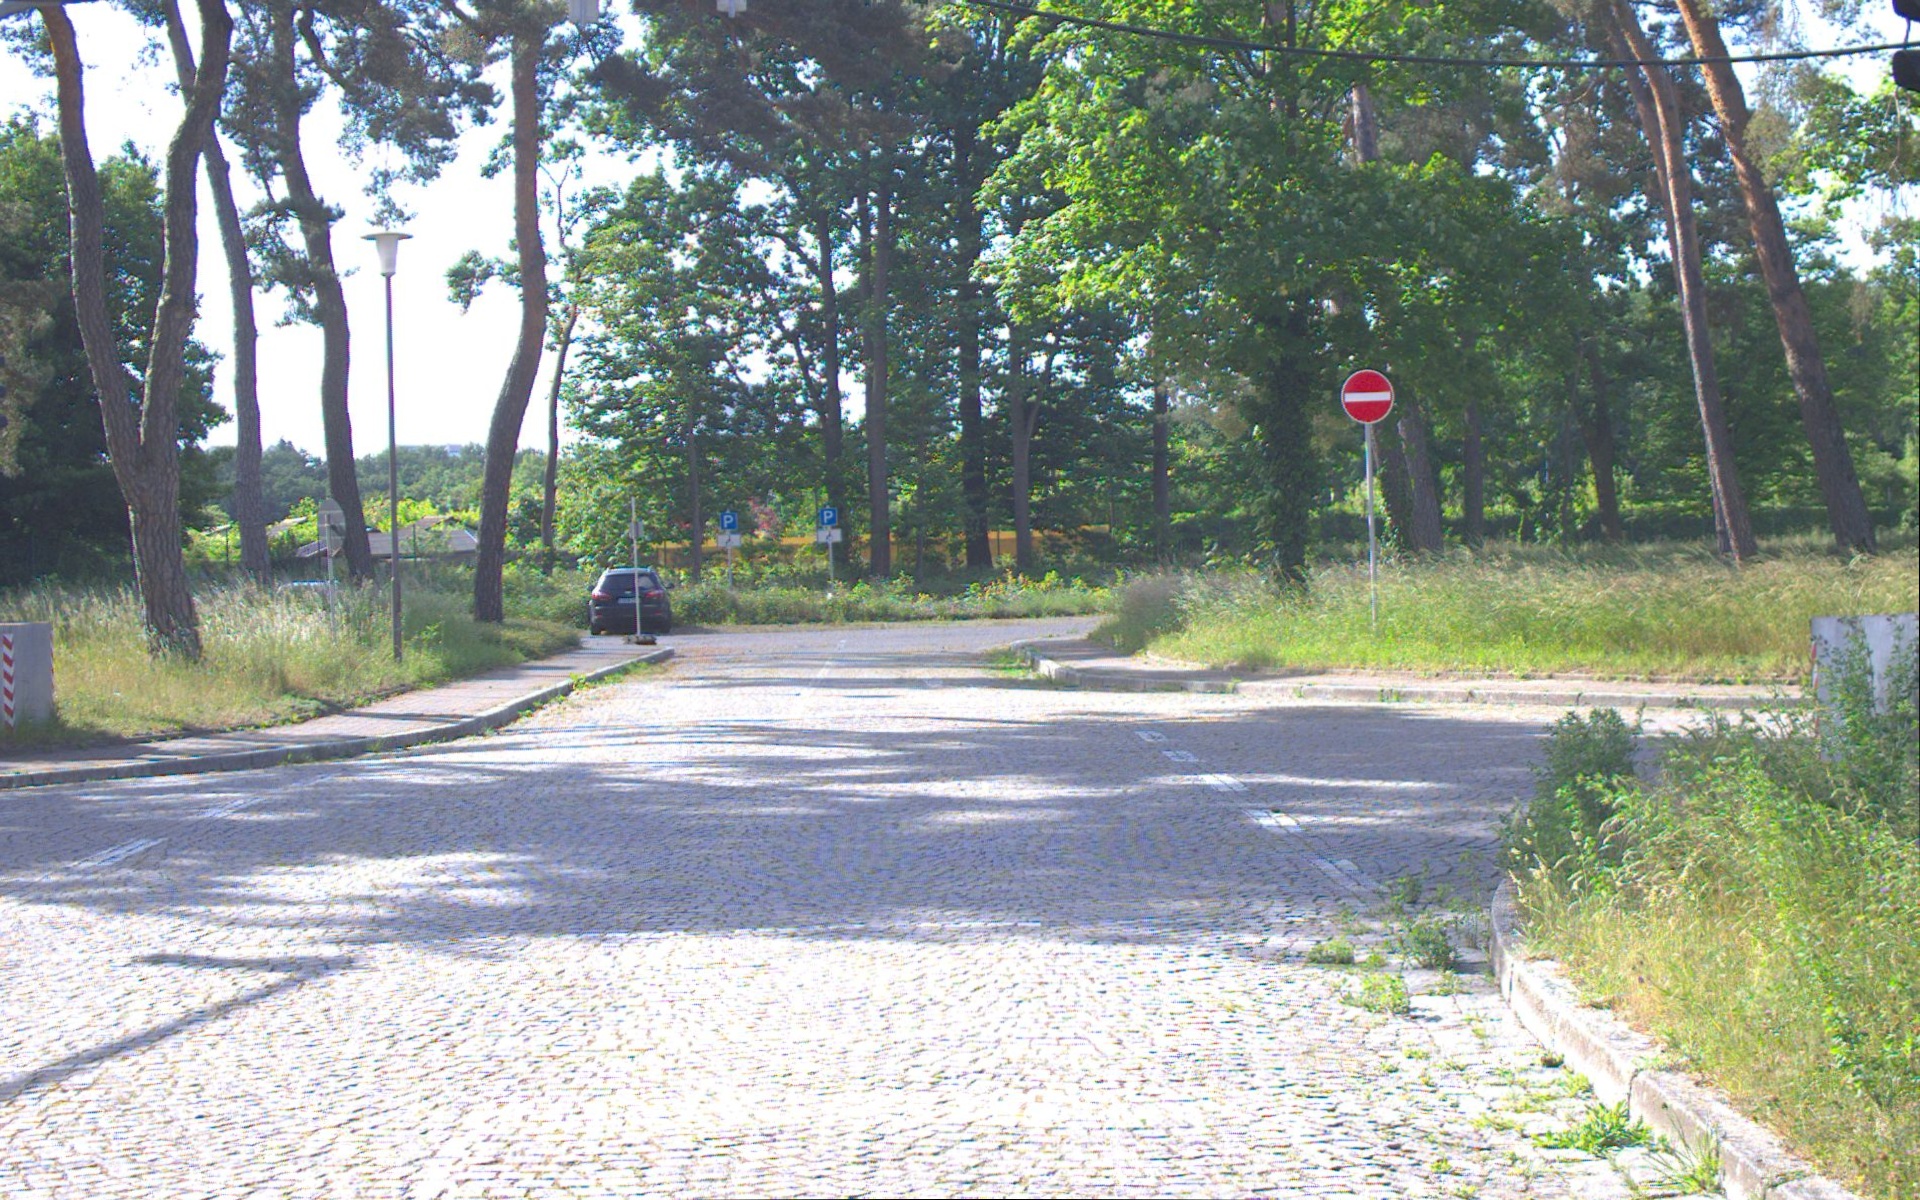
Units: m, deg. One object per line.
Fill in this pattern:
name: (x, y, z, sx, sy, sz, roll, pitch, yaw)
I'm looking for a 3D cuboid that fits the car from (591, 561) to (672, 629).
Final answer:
car: (-7.655, -0.132, 80.413, 1.709, 1.491, 3.919, -2, 1, -3)
